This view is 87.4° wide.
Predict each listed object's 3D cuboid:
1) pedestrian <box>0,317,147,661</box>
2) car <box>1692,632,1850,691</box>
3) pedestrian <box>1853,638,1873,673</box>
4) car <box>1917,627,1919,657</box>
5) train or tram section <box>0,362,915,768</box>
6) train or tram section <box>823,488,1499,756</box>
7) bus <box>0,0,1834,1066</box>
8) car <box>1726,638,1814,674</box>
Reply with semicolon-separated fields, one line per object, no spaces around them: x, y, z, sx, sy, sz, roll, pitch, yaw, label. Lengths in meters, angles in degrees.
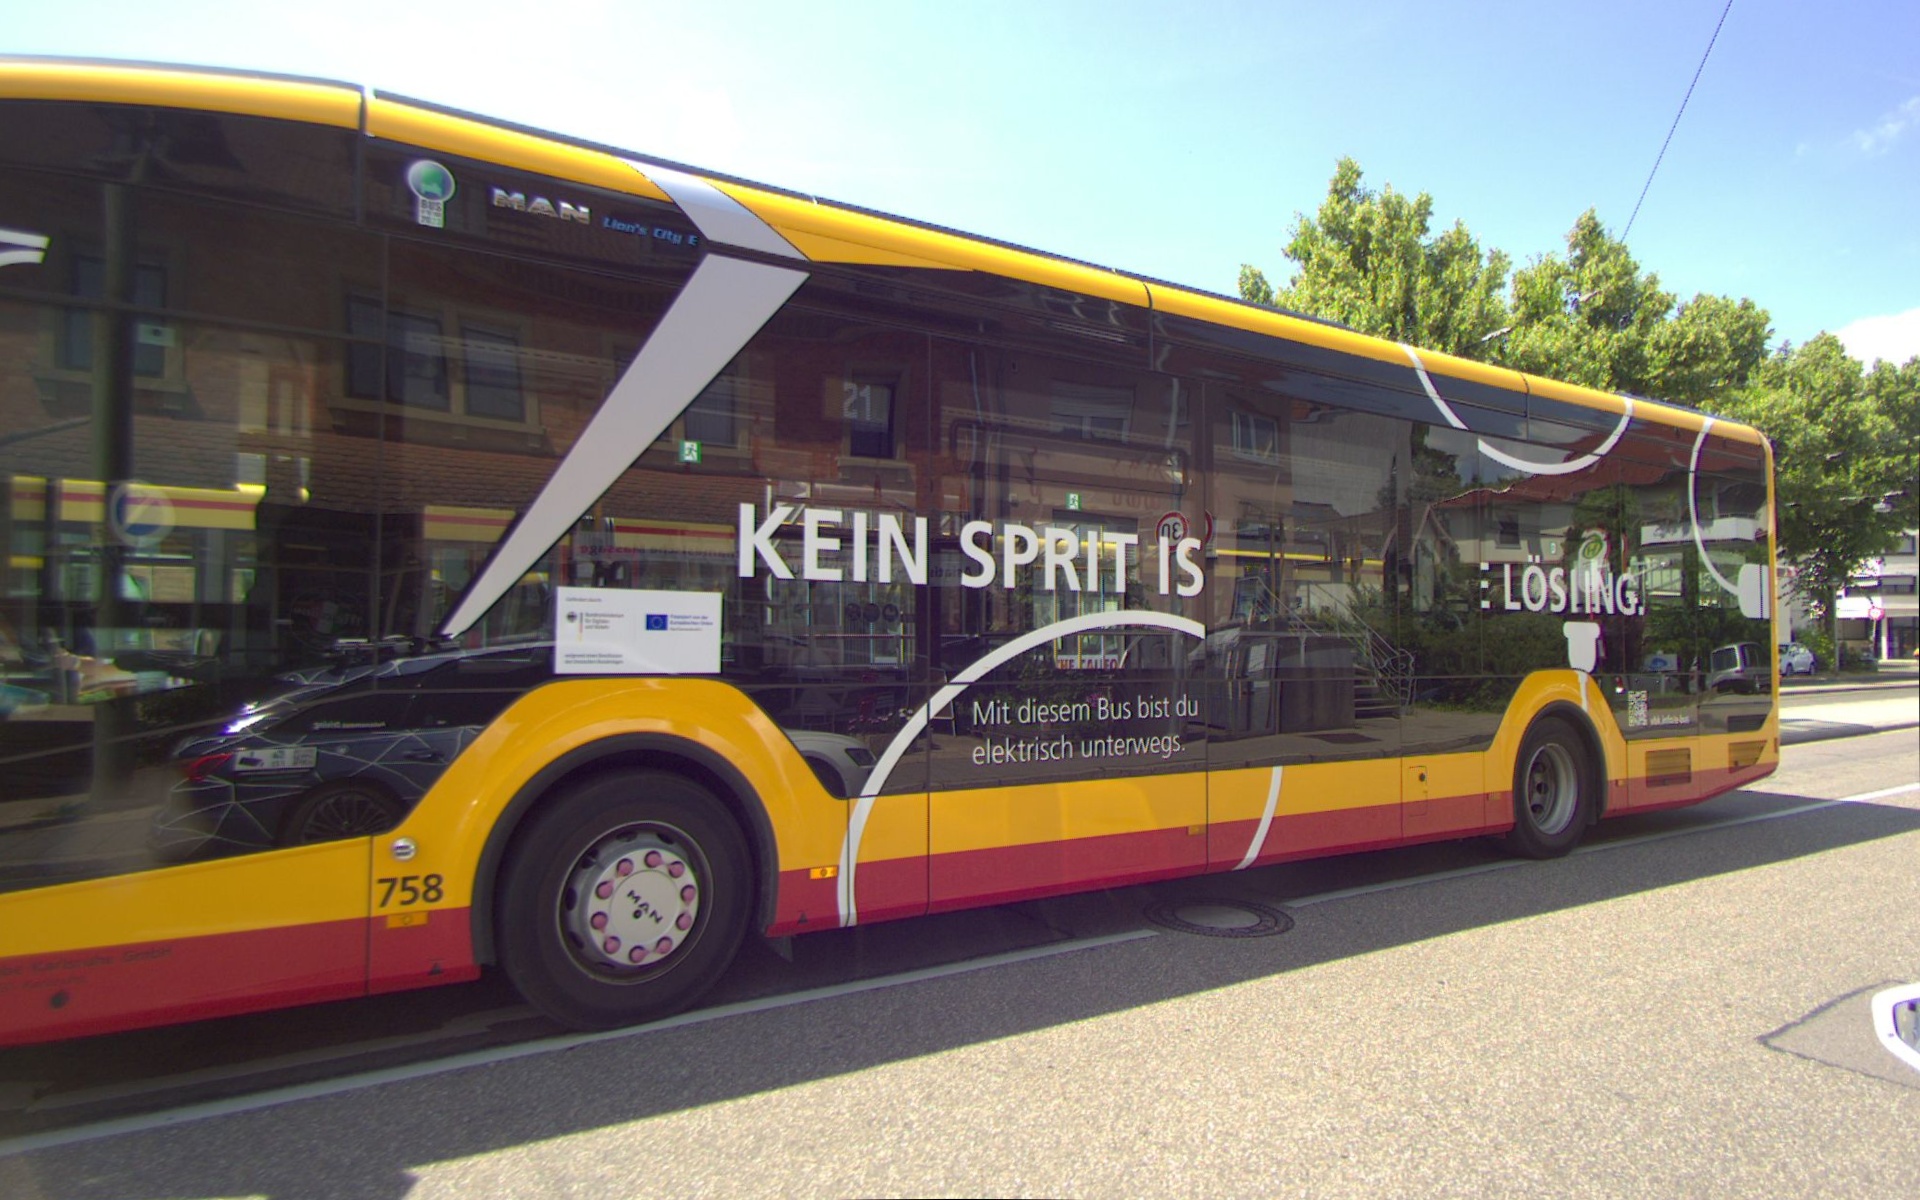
-5.186;-0.584;5.640;0.767;1.800;0.574;2;-1;18;pedestrian
21.819;1.621;27.112;3.239;1.391;1.462;1;-1;41;car
54.171;3.344;60.271;0.672;2.040;0.618;2;-1;26;pedestrian
66.004;2.871;66.245;1.961;2.040;4.000;2;-1;-1;car
-8.769;-0.295;10.796;17.150;3.691;2.949;2;-1;-31;train or tram section
4.485;0.498;18.636;13.831;3.691;2.949;2;-1;-31;train or tram section
1.221;-0.186;6.474;12.053;3.290;2.884;3;-1;-30;bus
33.289;2.292;41.256;3.959;1.336;1.704;3;-1;-34;car
